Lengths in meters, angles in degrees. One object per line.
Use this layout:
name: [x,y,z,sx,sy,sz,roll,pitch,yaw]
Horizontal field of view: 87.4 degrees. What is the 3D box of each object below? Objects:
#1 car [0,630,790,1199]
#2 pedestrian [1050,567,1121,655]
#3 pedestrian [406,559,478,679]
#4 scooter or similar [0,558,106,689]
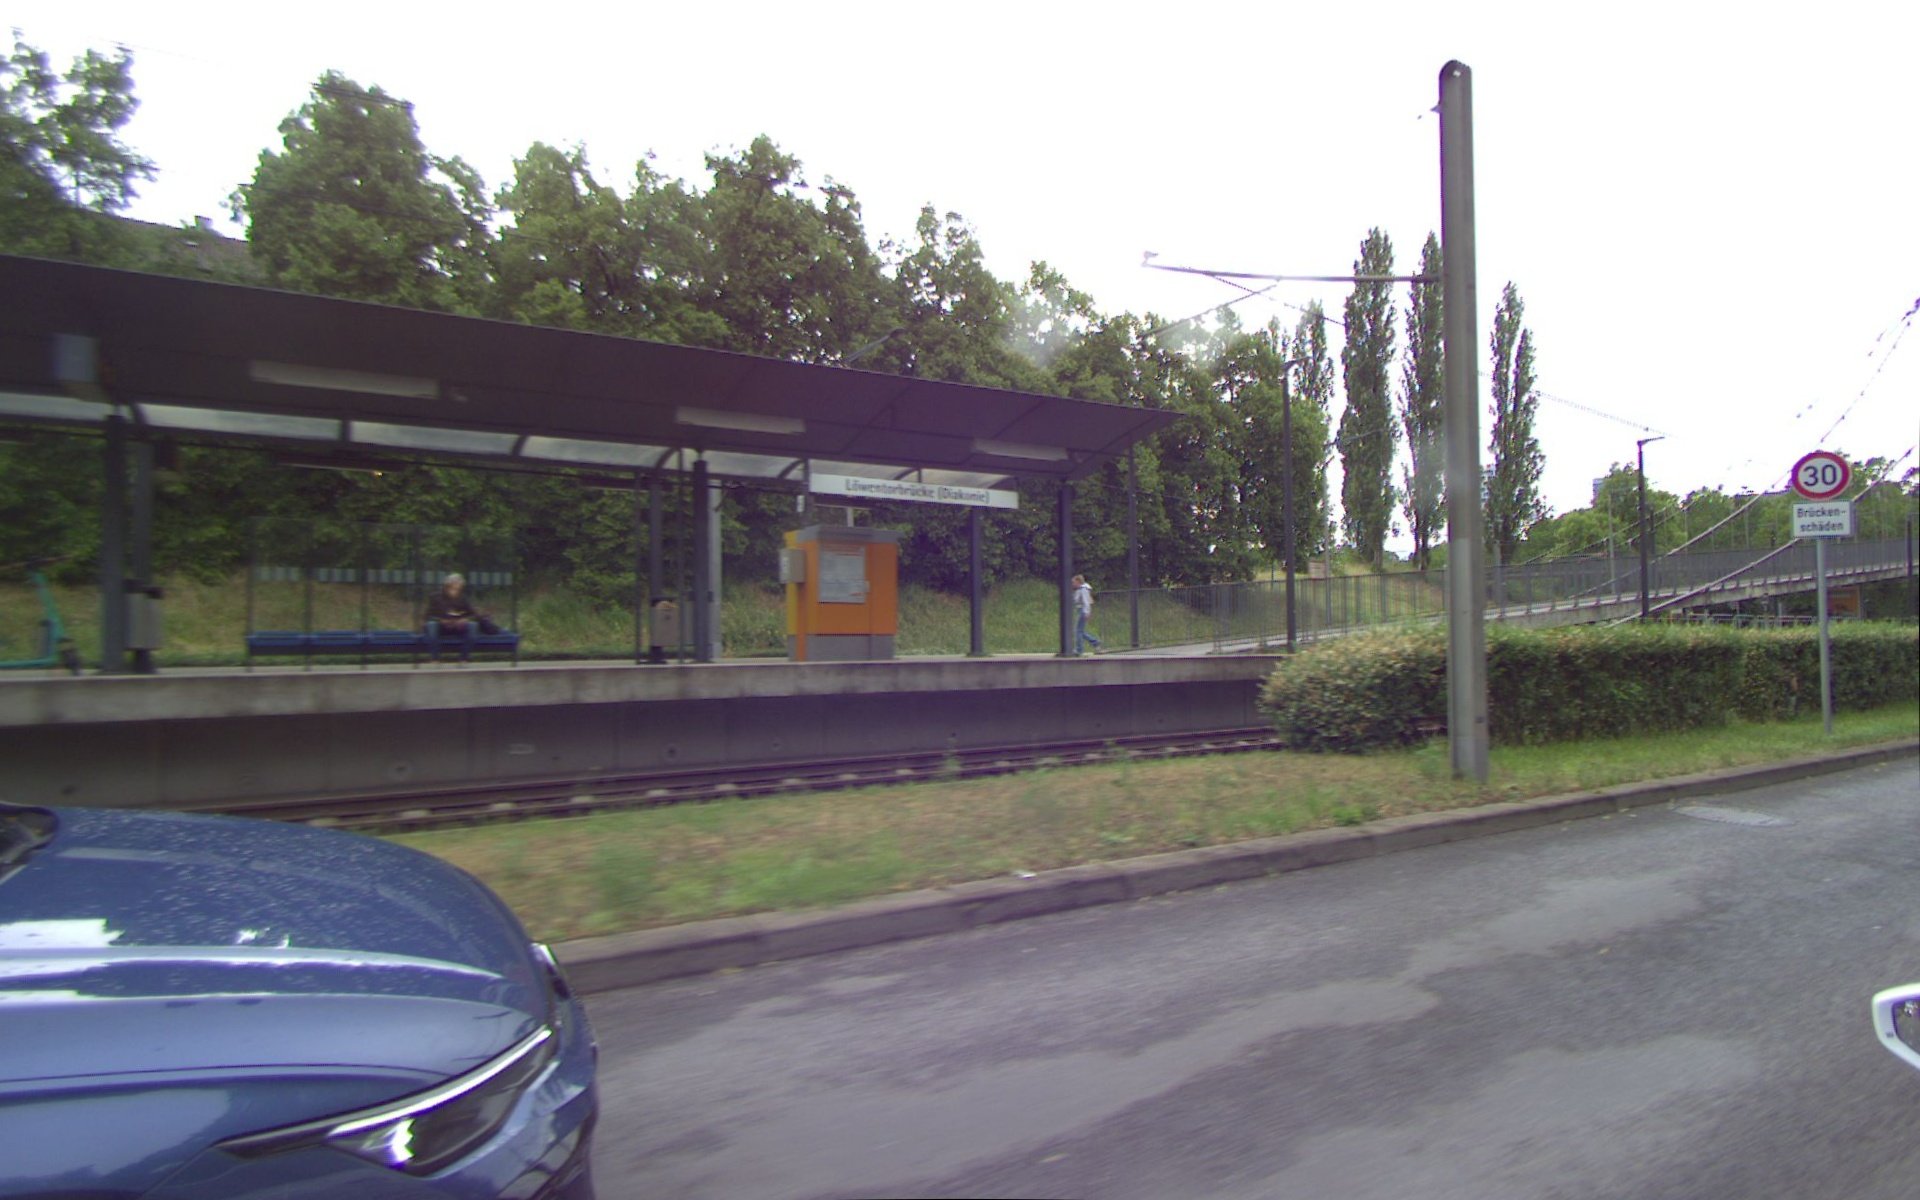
car: [-2.586,0.751,1.406,4.296,1.397,1.800,1,-1,-30]
pedestrian: [2.406,0.225,19.278,1.016,1.632,0.929,1,-2,-33]
pedestrian: [-6.194,0.239,12.007,0.685,1.373,0.748,1,-2,-33]
scooter or similar: [-9.178,0.222,9.788,0.372,1.234,1.301,1,-1,14]
